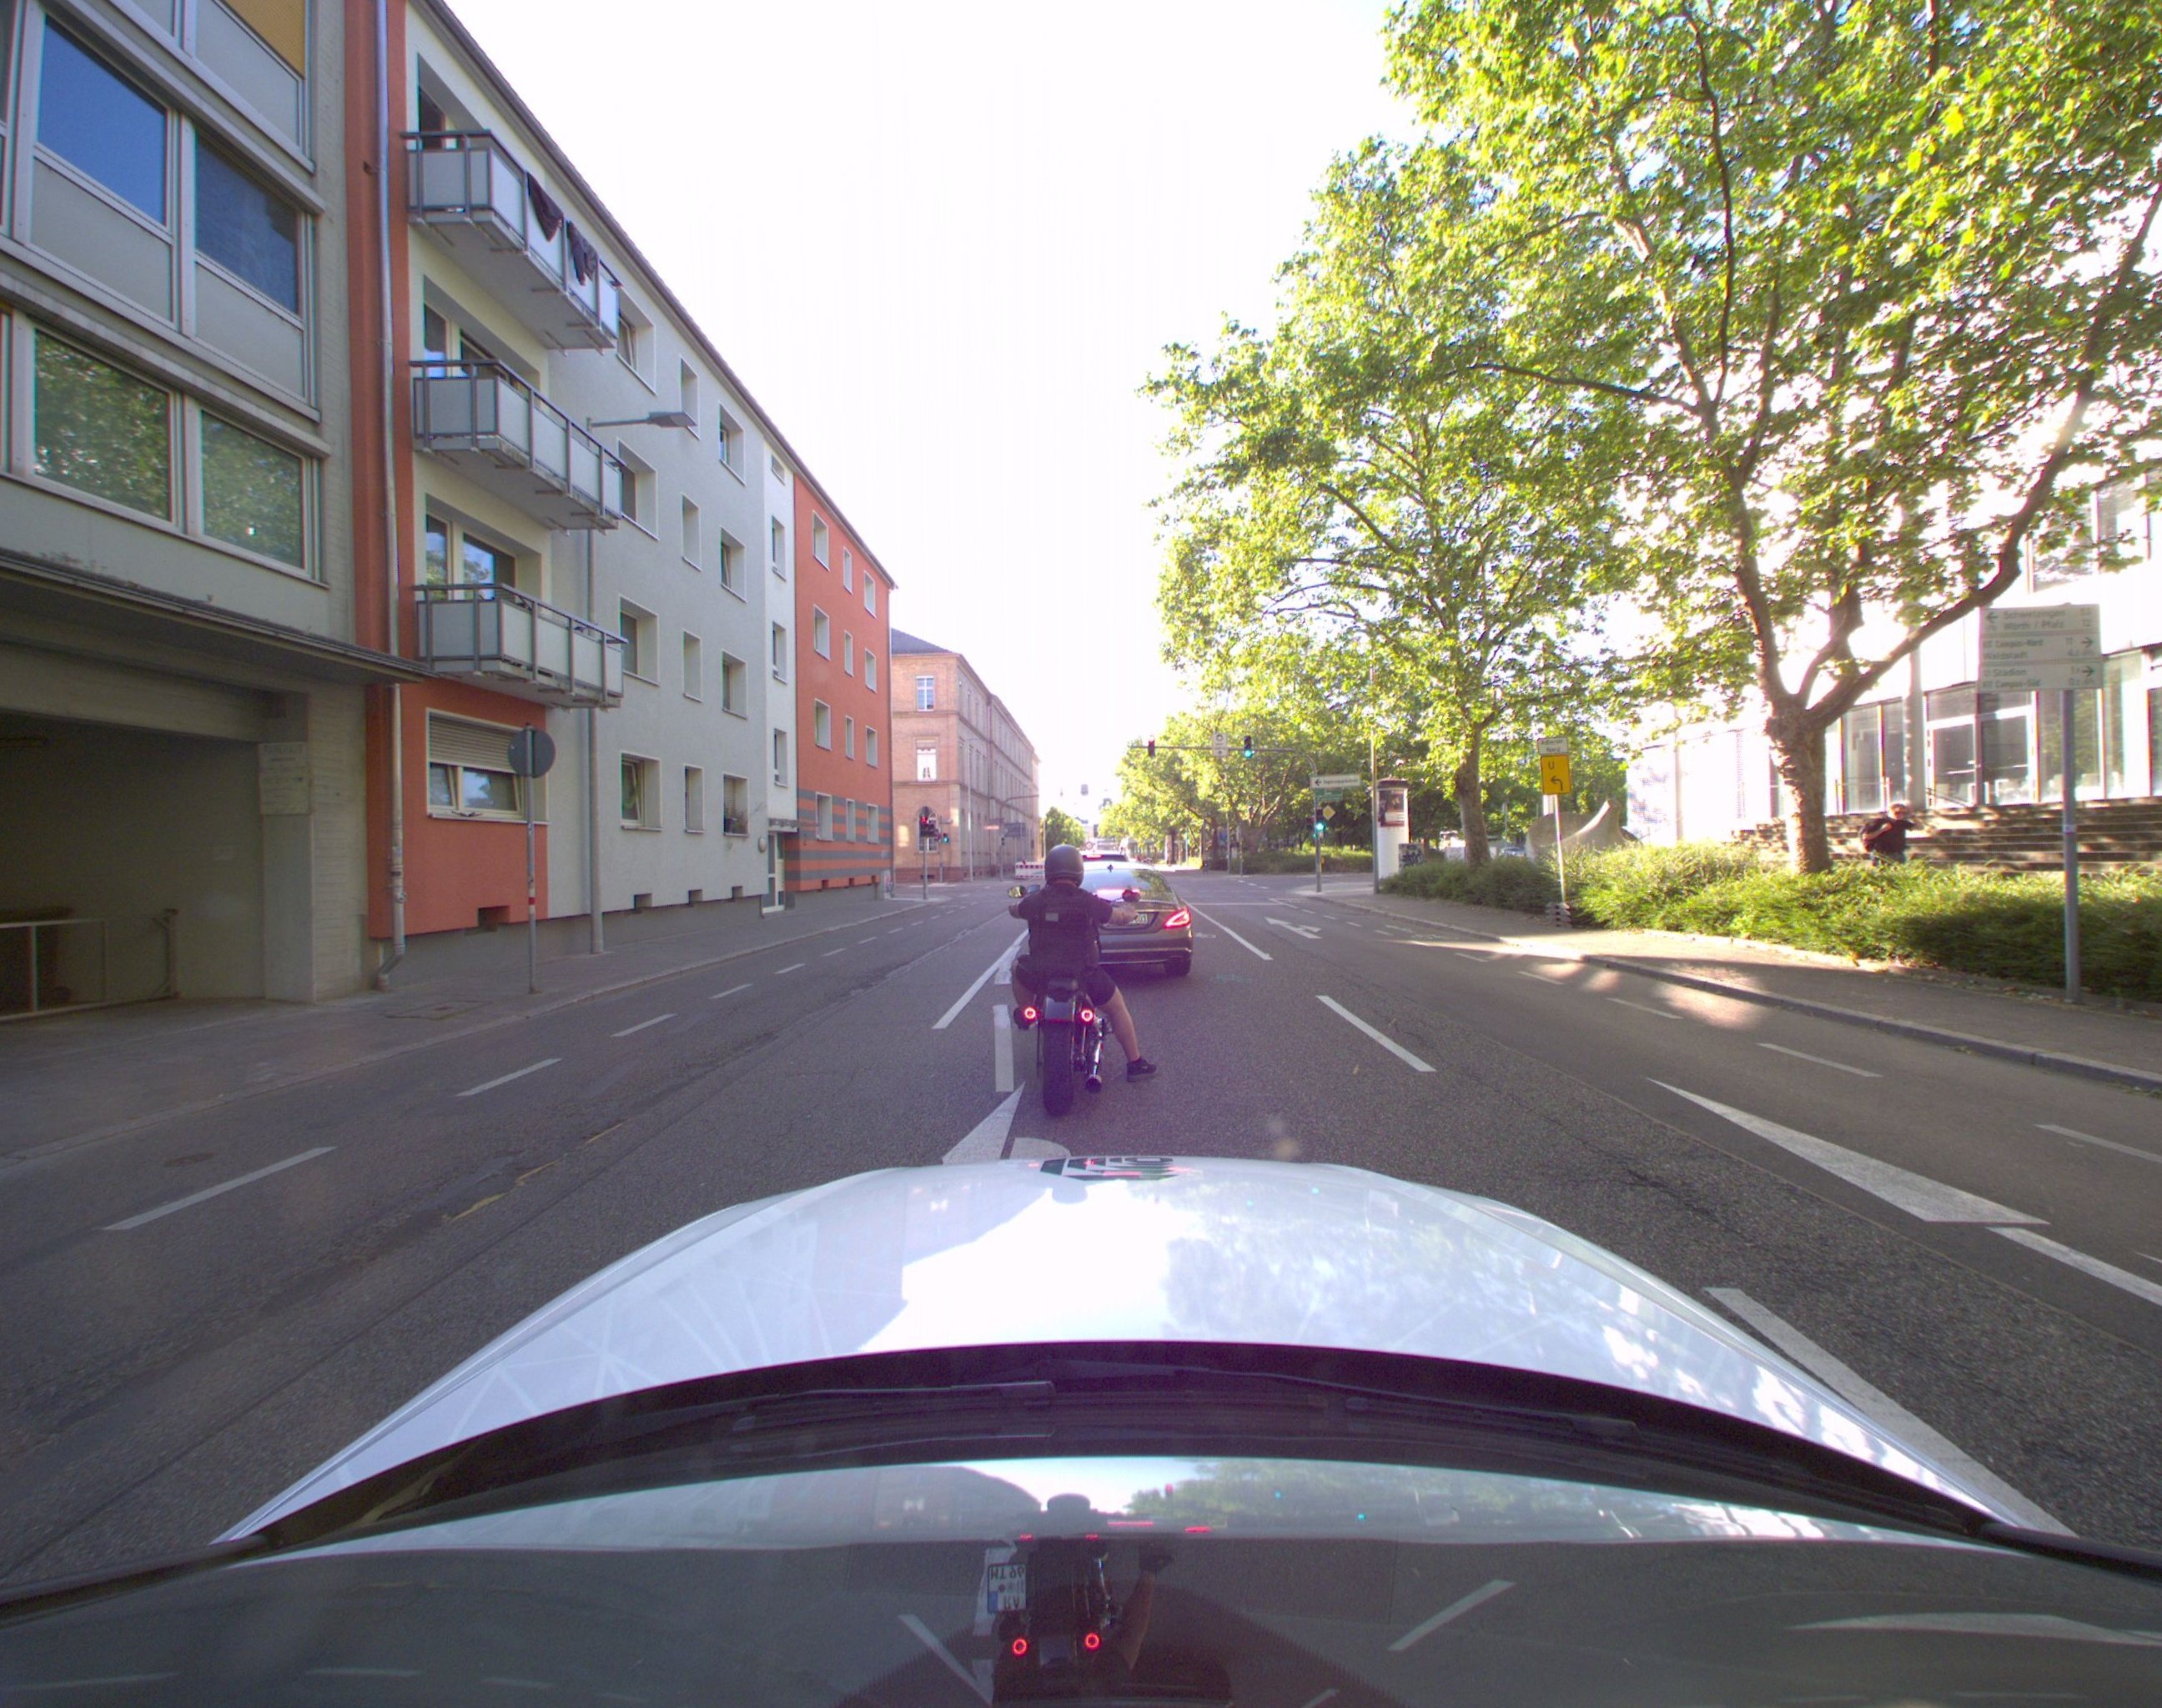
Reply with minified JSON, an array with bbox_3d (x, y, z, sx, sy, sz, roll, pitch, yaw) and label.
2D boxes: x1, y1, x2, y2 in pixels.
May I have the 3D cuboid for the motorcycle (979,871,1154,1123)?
[{"bbox_3d":[-0.042,0.815,5.663,0.958,1.357,2.321,0,-1,2],"label":"motorcycle"}]

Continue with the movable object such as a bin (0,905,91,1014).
[{"bbox_3d":[-11.326,1.099,8.651,0.736,1.074,0.716,0,-1,2],"label":"movable object such as a bin"}]

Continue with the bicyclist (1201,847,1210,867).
[{"bbox_3d":[9.862,0.254,64.566,0.713,1.582,0.937,0,-1,6],"label":"bicyclist"}]

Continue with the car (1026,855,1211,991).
[{"bbox_3d":[0.283,0.760,11.172,1.900,1.441,4.279,-1,0,-6],"label":"car"}]

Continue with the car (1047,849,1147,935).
[{"bbox_3d":[0.267,0.697,16.898,1.808,1.536,3.847,-1,0,-1],"label":"car"}]

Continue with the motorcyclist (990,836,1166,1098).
[{"bbox_3d":[-0.007,0.690,5.393,1.057,1.582,0.908,0,-1,1],"label":"motorcyclist"}]

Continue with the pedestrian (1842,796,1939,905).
[{"bbox_3d":[13.782,-0.060,13.890,0.781,1.781,0.862,-1,0,0],"label":"pedestrian"}]

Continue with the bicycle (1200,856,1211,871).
[{"bbox_3d":[9.869,0.784,64.713,0.712,1.172,2.179,0,-1,6],"label":"bicycle"}]
